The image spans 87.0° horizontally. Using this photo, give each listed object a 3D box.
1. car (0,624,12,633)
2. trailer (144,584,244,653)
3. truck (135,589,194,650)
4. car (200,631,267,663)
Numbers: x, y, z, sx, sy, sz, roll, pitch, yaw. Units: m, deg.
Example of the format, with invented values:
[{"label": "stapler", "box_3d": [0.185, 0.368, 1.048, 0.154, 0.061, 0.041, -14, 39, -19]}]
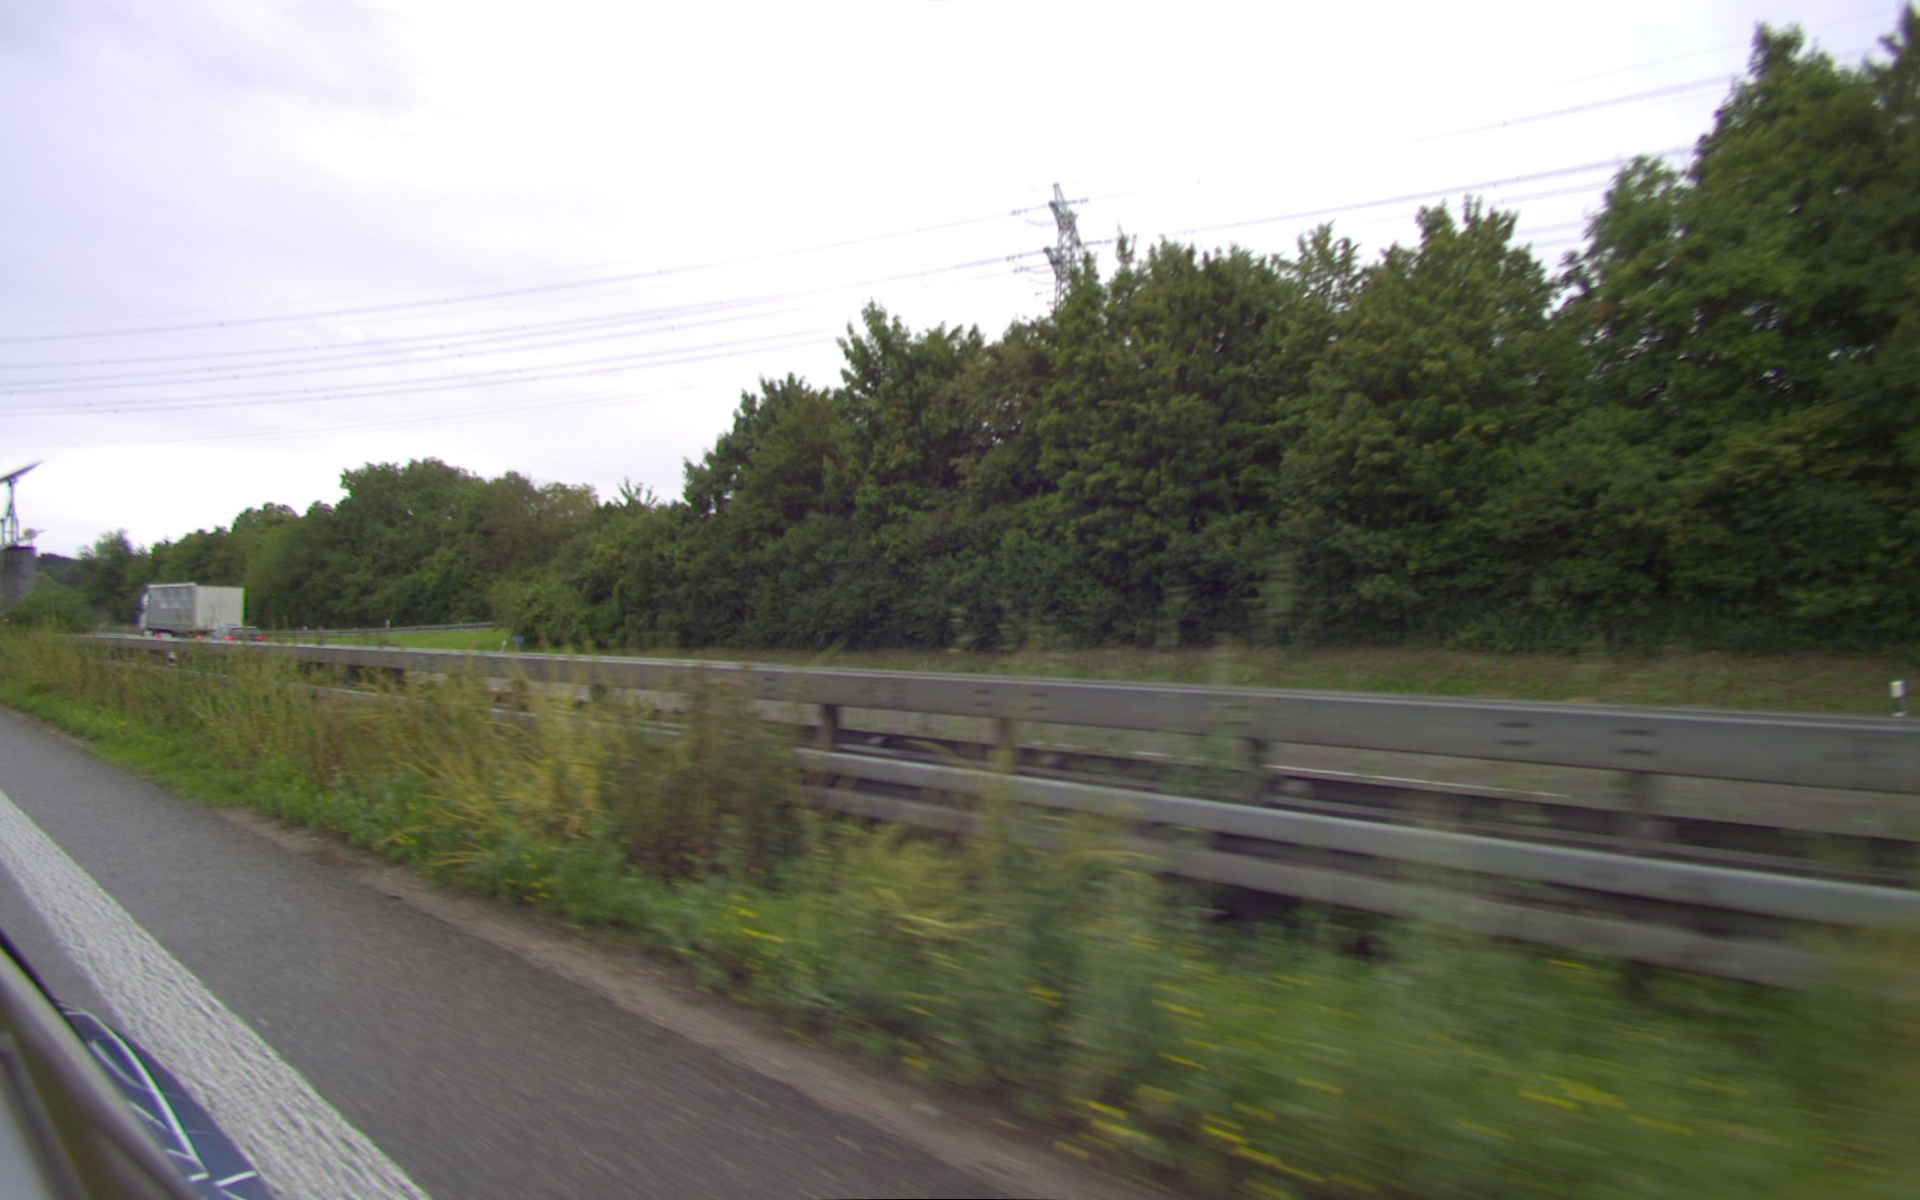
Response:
[{"label": "car", "box_3d": [-164.116, 4.923, 173.660, 4.001, 1.555, 1.946, -1, -2, 44]}, {"label": "trailer", "box_3d": [-51.589, 1.314, 67.947, 13.905, 4.269, 2.615, -1, -2, 42]}, {"label": "truck", "box_3d": [-57.341, 1.442, 72.965, 3.998, 4.269, 2.616, -2, -2, 41]}, {"label": "car", "box_3d": [-34.044, 2.163, 47.398, 3.998, 1.408, 1.661, -2, -2, 41]}]
